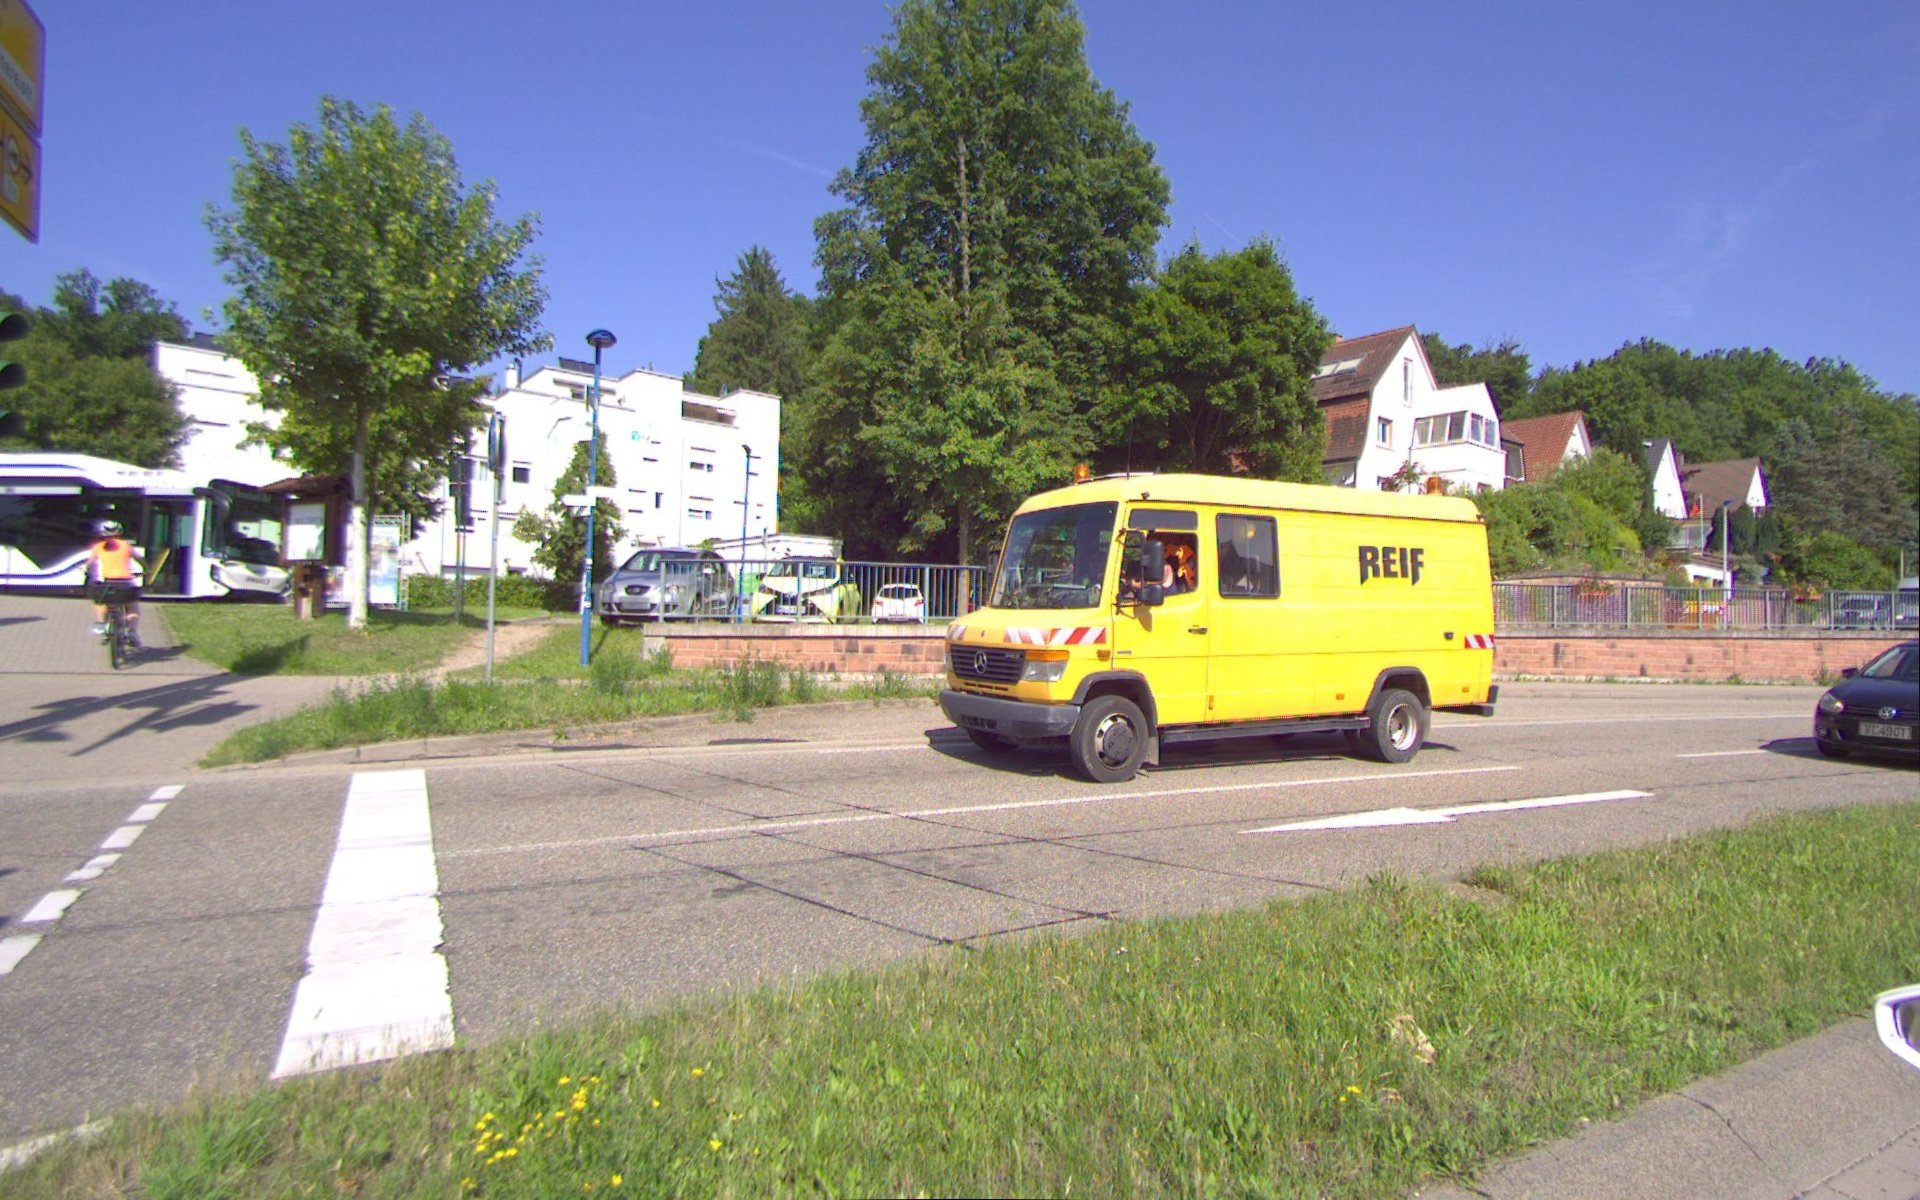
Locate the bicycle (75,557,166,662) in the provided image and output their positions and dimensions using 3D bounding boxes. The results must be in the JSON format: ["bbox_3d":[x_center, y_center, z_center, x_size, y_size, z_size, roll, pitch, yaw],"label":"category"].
[{"bbox_3d":[-10.373,0.081,12.465,0.728,1.079,1.952,0,6,-36],"label":"bicycle"}]

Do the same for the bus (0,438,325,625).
[{"bbox_3d":[-20.786,-1.534,22.482,11.970,3.764,2.871,1,1,7],"label":"bus"}]

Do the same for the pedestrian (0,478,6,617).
[{"bbox_3d":[-13.629,-0.727,13.613,0.847,1.934,0.735,2,3,-31],"label":"pedestrian"}]

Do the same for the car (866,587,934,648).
[{"bbox_3d":[-1.819,0.496,31.564,1.876,1.724,3.999,1,1,0],"label":"car"}]

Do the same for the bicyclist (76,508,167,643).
[{"bbox_3d":[-10.347,-0.305,12.430,0.799,1.586,0.947,0,2,-37],"label":"bicyclist"}]

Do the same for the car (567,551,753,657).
[{"bbox_3d":[-5.546,0.010,19.215,2.016,1.719,4.416,2,2,3],"label":"car"}]

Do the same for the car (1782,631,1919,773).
[{"bbox_3d":[11.779,1.153,11.974,3.994,1.482,1.738,2,-1,-29],"label":"car"}]

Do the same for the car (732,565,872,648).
[{"bbox_3d":[-2.902,0.071,19.298,1.876,1.400,4.001,1,1,3],"label":"car"}]

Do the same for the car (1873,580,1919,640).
[{"bbox_3d":[41.918,0.429,43.899,5.734,2.477,2.076,0,2,-39],"label":"car"}]

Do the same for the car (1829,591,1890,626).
[{"bbox_3d":[45.978,0.454,51.314,3.969,1.651,1.878,2,-1,-41],"label":"car"}]

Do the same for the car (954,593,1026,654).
[{"bbox_3d":[0.992,0.661,30.902,1.960,1.694,4.001,1,1,5],"label":"car"}]

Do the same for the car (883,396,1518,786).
[{"bbox_3d":[2.643,0.008,10.484,6.386,3.051,2.457,2,0,-29],"label":"car"}]

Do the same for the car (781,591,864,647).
[{"bbox_3d":[-4.226,0.543,31.509,1.876,1.581,4.000,1,1,2],"label":"car"}]
